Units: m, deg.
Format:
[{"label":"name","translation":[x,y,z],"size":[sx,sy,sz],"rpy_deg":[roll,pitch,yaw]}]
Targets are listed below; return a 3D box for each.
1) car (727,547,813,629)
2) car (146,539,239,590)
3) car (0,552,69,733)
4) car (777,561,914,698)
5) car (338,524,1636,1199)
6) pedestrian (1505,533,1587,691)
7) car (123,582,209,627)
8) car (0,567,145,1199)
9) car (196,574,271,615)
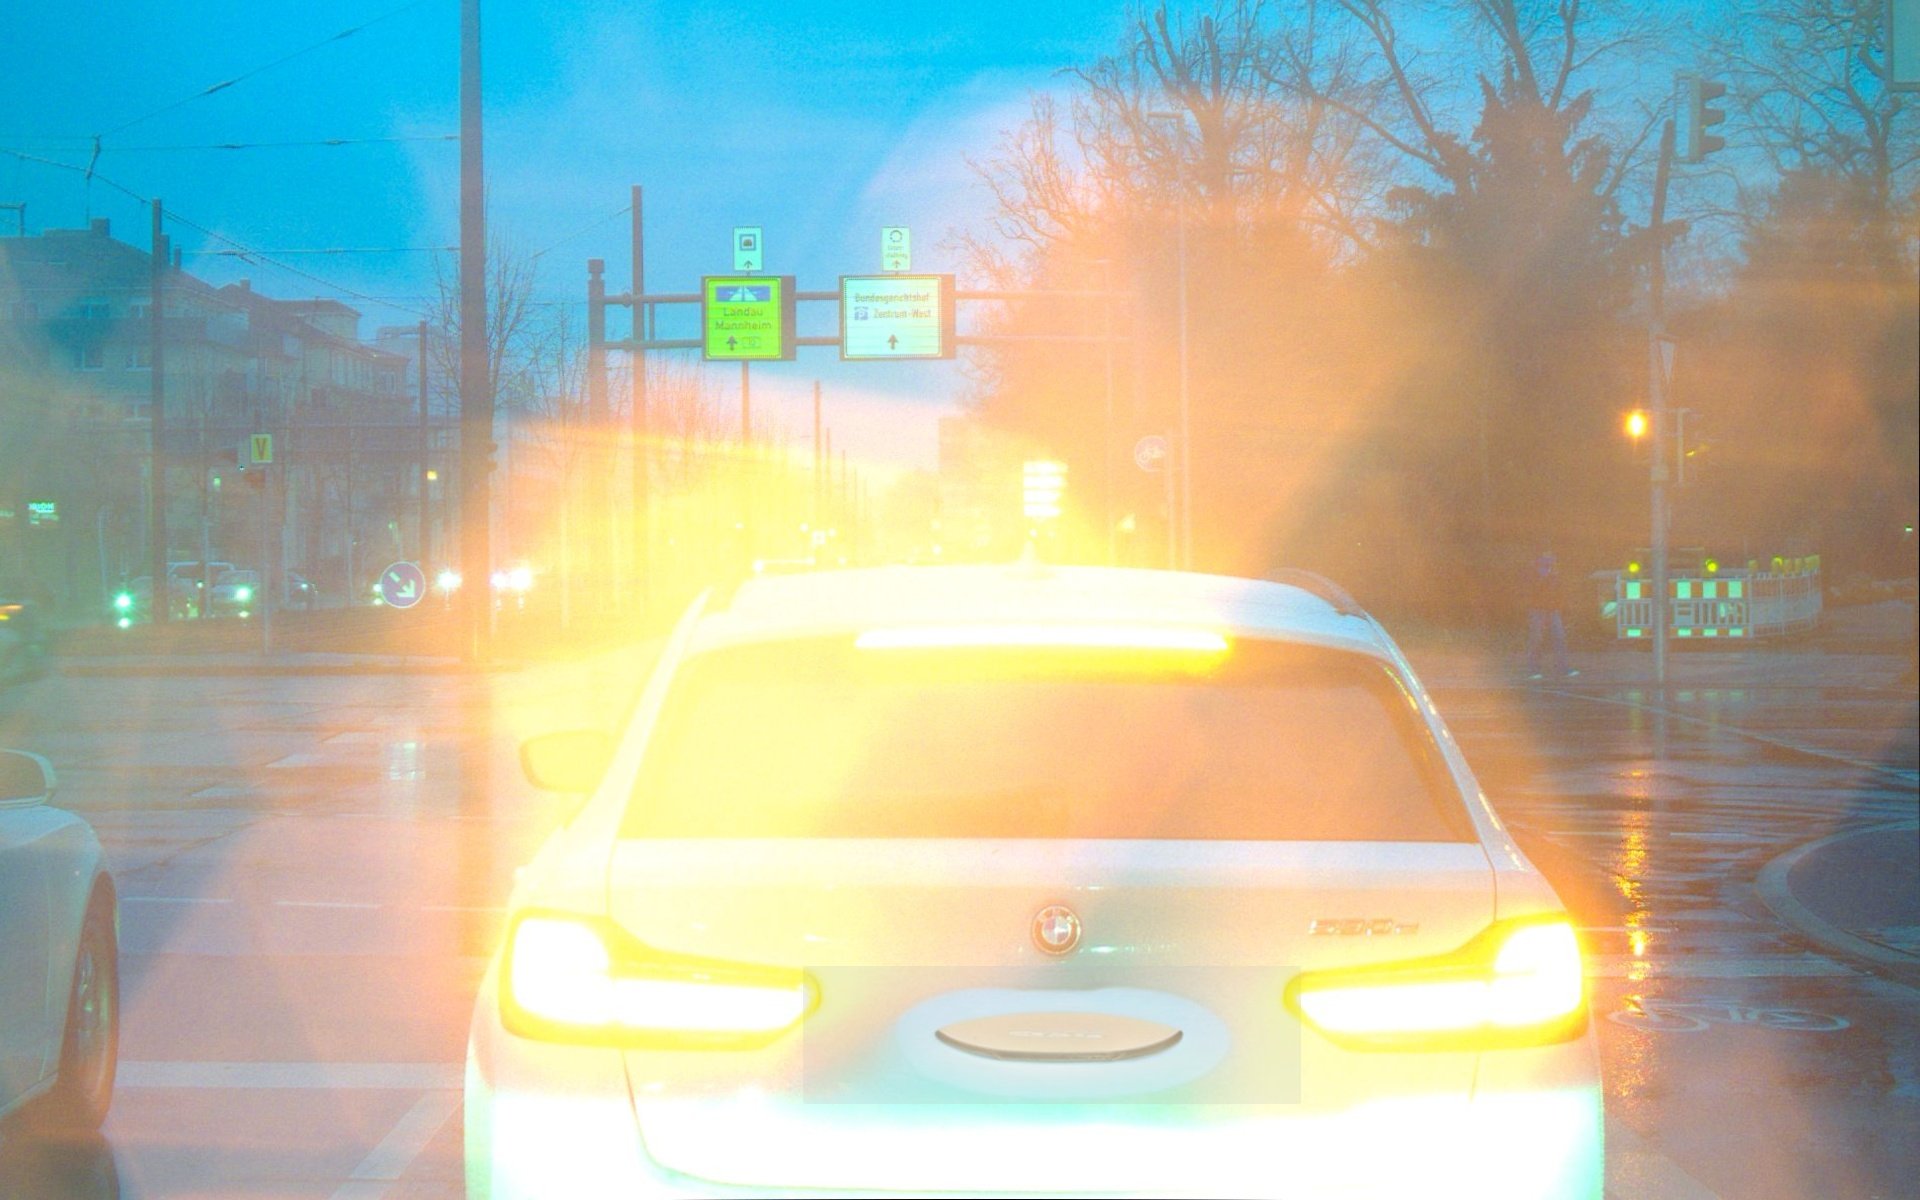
[{"label":"car","translation":[-4.841,-0.324,87.998],"size":[1.993,2.007,4.000],"rpy_deg":[1,1,-1]},{"label":"car","translation":[-22.842,-1.071,102.450],"size":[1.993,1.457,5.096],"rpy_deg":[1,1,-4]},{"label":"car","translation":[-10.768,0.360,32.841],"size":[4.070,1.681,1.959],"rpy_deg":[1,0,-4]},{"label":"car","translation":[-1.721,0.418,52.983],"size":[1.993,2.007,4.000],"rpy_deg":[1,1,-1]},{"label":"car","translation":[-0.060,0.660,6.814],"size":[1.759,1.547,4.252],"rpy_deg":[1,1,-3]},{"label":"pedestrian","translation":[7.030,0.137,41.266],"size":[0.712,1.873,0.675],"rpy_deg":[1,0,-20]},{"label":"car","translation":[-27.411,0.139,118.835],"size":[1.993,1.457,5.095],"rpy_deg":[1,1,-2]},{"label":"car","translation":[-2.957,0.660,6.985],"size":[1.759,1.464,4.252],"rpy_deg":[1,1,-3]},{"label":"car","translation":[-27.678,-0.226,131.092],"size":[1.993,1.457,5.095],"rpy_deg":[1,1,-2]}]
